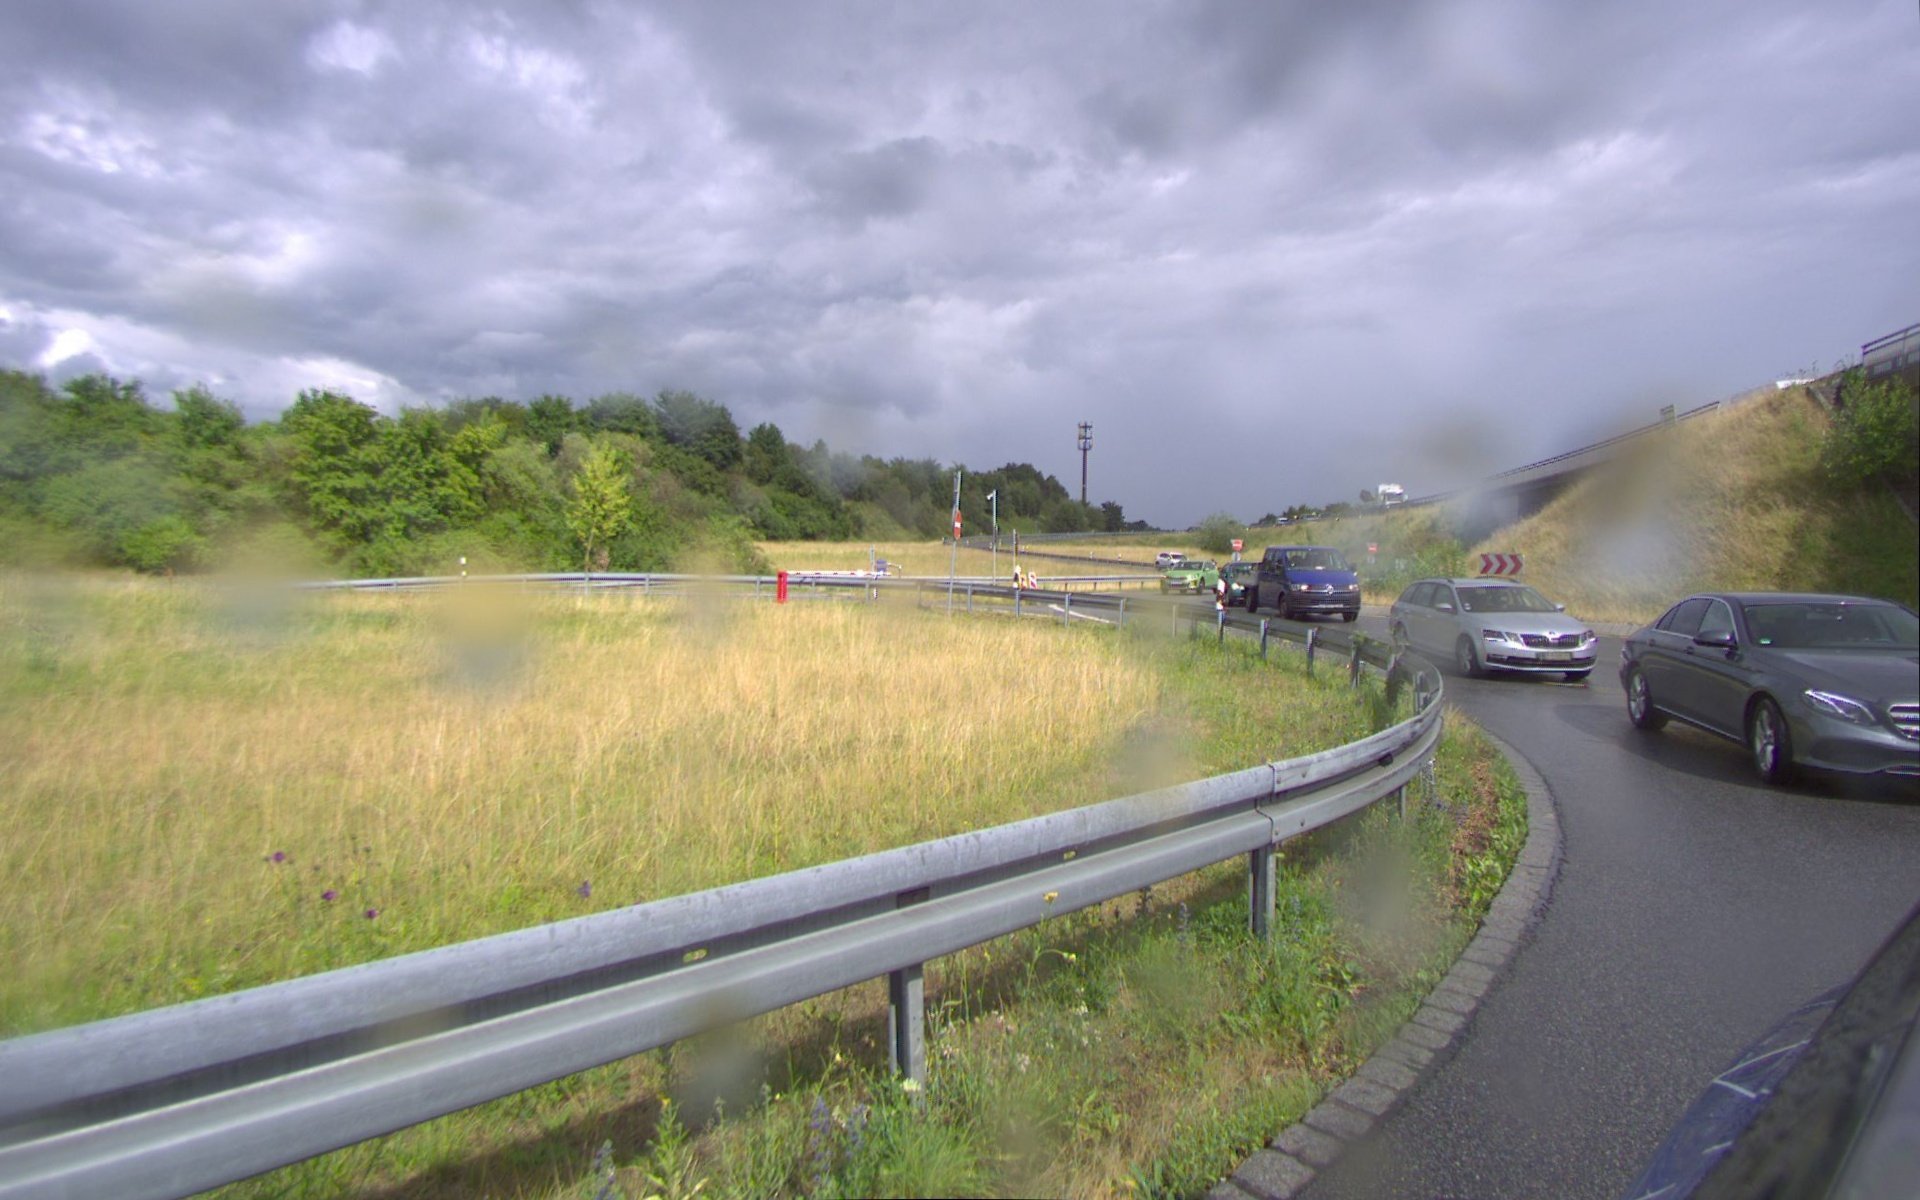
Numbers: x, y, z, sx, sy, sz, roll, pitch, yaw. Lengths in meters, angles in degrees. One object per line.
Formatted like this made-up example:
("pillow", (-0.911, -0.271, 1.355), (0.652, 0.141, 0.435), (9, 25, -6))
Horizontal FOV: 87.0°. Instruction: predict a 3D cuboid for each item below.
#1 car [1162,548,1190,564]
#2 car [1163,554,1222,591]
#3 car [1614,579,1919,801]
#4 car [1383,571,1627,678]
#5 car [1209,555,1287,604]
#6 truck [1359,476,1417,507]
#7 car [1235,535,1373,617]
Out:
("car", (17.799, -3.642, 83.465), (1.680, 1.305, 3.774), (1, 3, 3))
("car", (10.198, -1.223, 44.180), (1.603, 1.492, 3.811), (2, 3, 27))
("car", (7.466, 0.569, 8.769), (1.747, 1.408, 4.568), (1, 2, 16))
("car", (8.548, 0.279, 16.389), (1.765, 1.415, 4.348), (0, 3, 3))
("car", (9.570, -0.738, 33.923), (1.627, 1.492, 3.846), (1, 3, 2))
("truck", (51.310, -12.930, 121.649), (3.101, 3.233, 9.284), (-1, 3, 0))
("car", (9.177, -0.762, 27.567), (1.858, 1.937, 5.685), (1, 4, 1))
